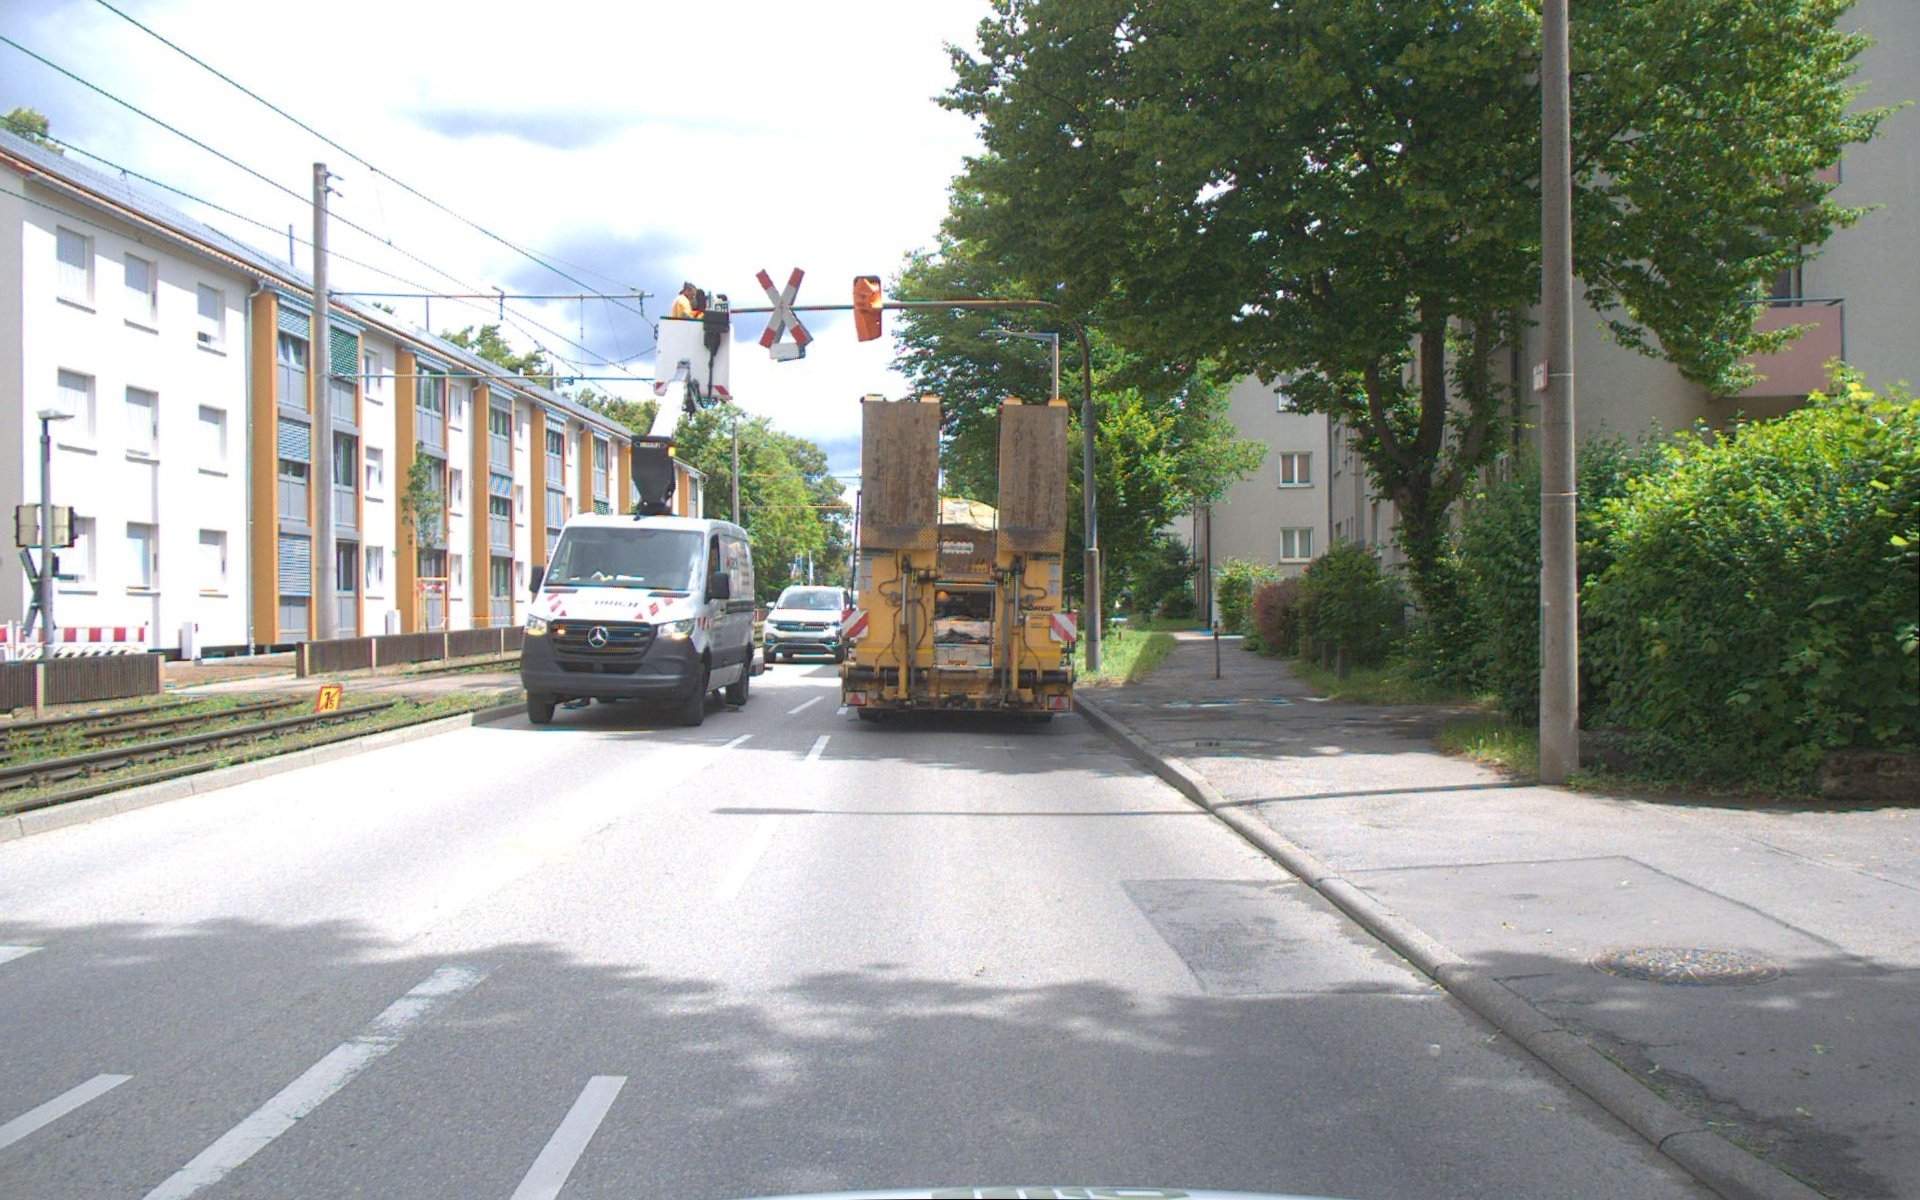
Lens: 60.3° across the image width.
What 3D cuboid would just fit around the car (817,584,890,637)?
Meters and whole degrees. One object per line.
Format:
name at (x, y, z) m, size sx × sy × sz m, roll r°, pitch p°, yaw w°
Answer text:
car at (-3.196, 0.279, 50.475) m, size 1.840 × 1.507 × 4.529 m, roll 1°, pitch 0°, yaw 1°

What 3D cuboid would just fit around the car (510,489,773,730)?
car at (-3.658, 0.071, 20.318) m, size 1.952 × 2.473 × 6.322 m, roll 1°, pitch 0°, yaw 0°

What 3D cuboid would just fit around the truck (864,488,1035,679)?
truck at (-0.180, -0.318, 32.274) m, size 2.857 × 3.222 × 7.680 m, roll 1°, pitch 0°, yaw 0°

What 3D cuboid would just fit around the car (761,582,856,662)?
car at (-3.178, 0.429, 35.219) m, size 1.683 × 1.579 × 3.917 m, roll 1°, pitch 0°, yaw -1°

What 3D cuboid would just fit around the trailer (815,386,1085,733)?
trailer at (-0.154, -0.464, 22.895) m, size 2.765 × 3.585 × 11.050 m, roll 1°, pitch 0°, yaw -1°
